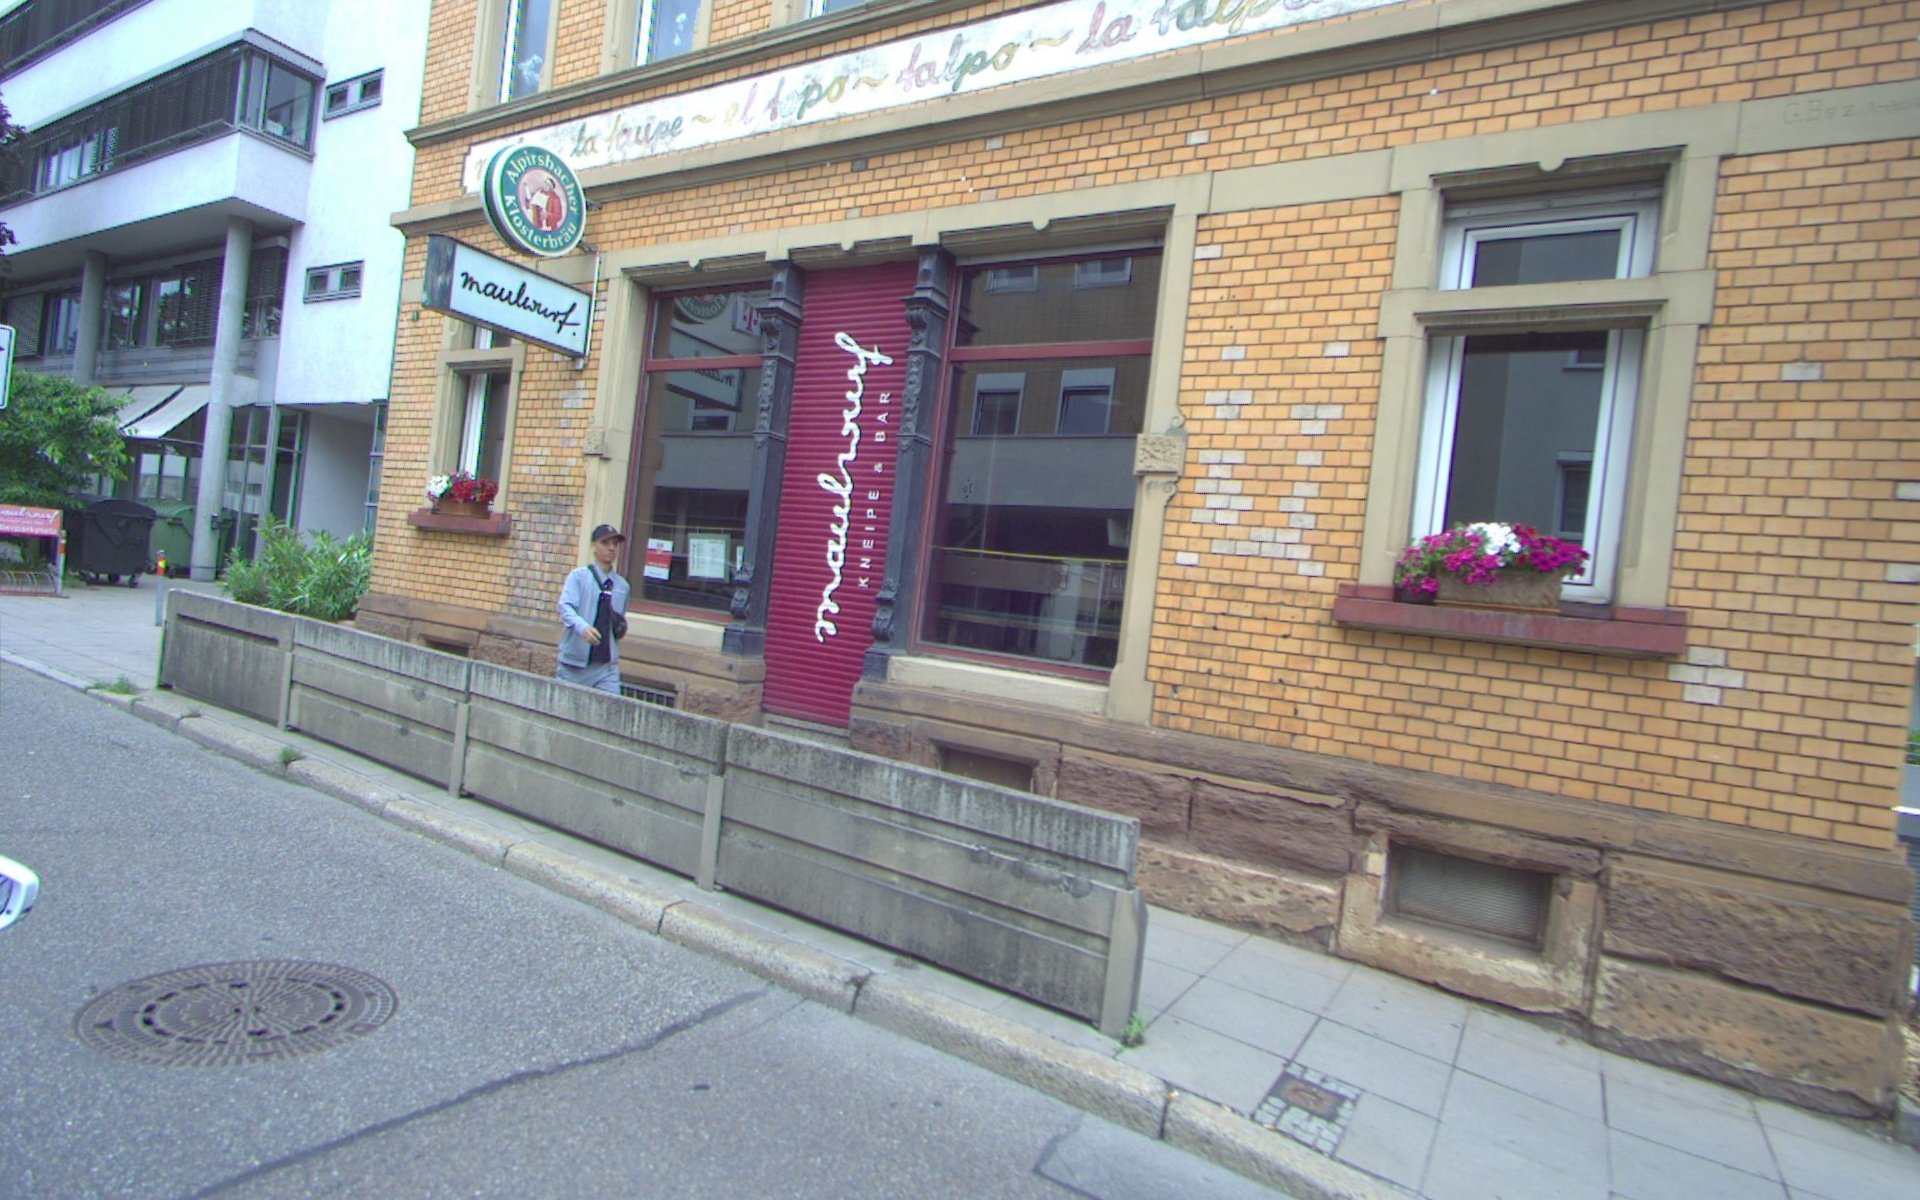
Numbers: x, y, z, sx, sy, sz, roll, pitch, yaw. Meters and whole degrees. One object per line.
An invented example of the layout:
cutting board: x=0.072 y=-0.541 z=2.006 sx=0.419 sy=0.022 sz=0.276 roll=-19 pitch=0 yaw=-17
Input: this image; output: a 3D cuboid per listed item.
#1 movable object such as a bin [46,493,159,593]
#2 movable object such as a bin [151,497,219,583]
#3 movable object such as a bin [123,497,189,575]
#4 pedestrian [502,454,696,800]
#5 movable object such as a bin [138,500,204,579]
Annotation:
movable object such as a bin: x=-14.354 y=-0.953 z=16.841 sx=1.421 sy=1.489 sz=0.944 roll=7 pitch=2 yaw=30
movable object such as a bin: x=-15.412 y=-1.179 z=20.012 sx=0.720 sy=1.610 sz=0.821 roll=6 pitch=2 yaw=33
movable object such as a bin: x=-16.646 y=-1.318 z=20.834 sx=0.720 sy=1.524 sz=0.821 roll=6 pitch=2 yaw=33
pedestrian: x=-2.292 y=0.162 z=6.415 sx=0.665 sy=2.038 sz=0.694 roll=7 pitch=1 yaw=31
movable object such as a bin: x=-16.025 y=-1.224 z=20.433 sx=0.720 sy=1.510 sz=0.821 roll=6 pitch=2 yaw=33
